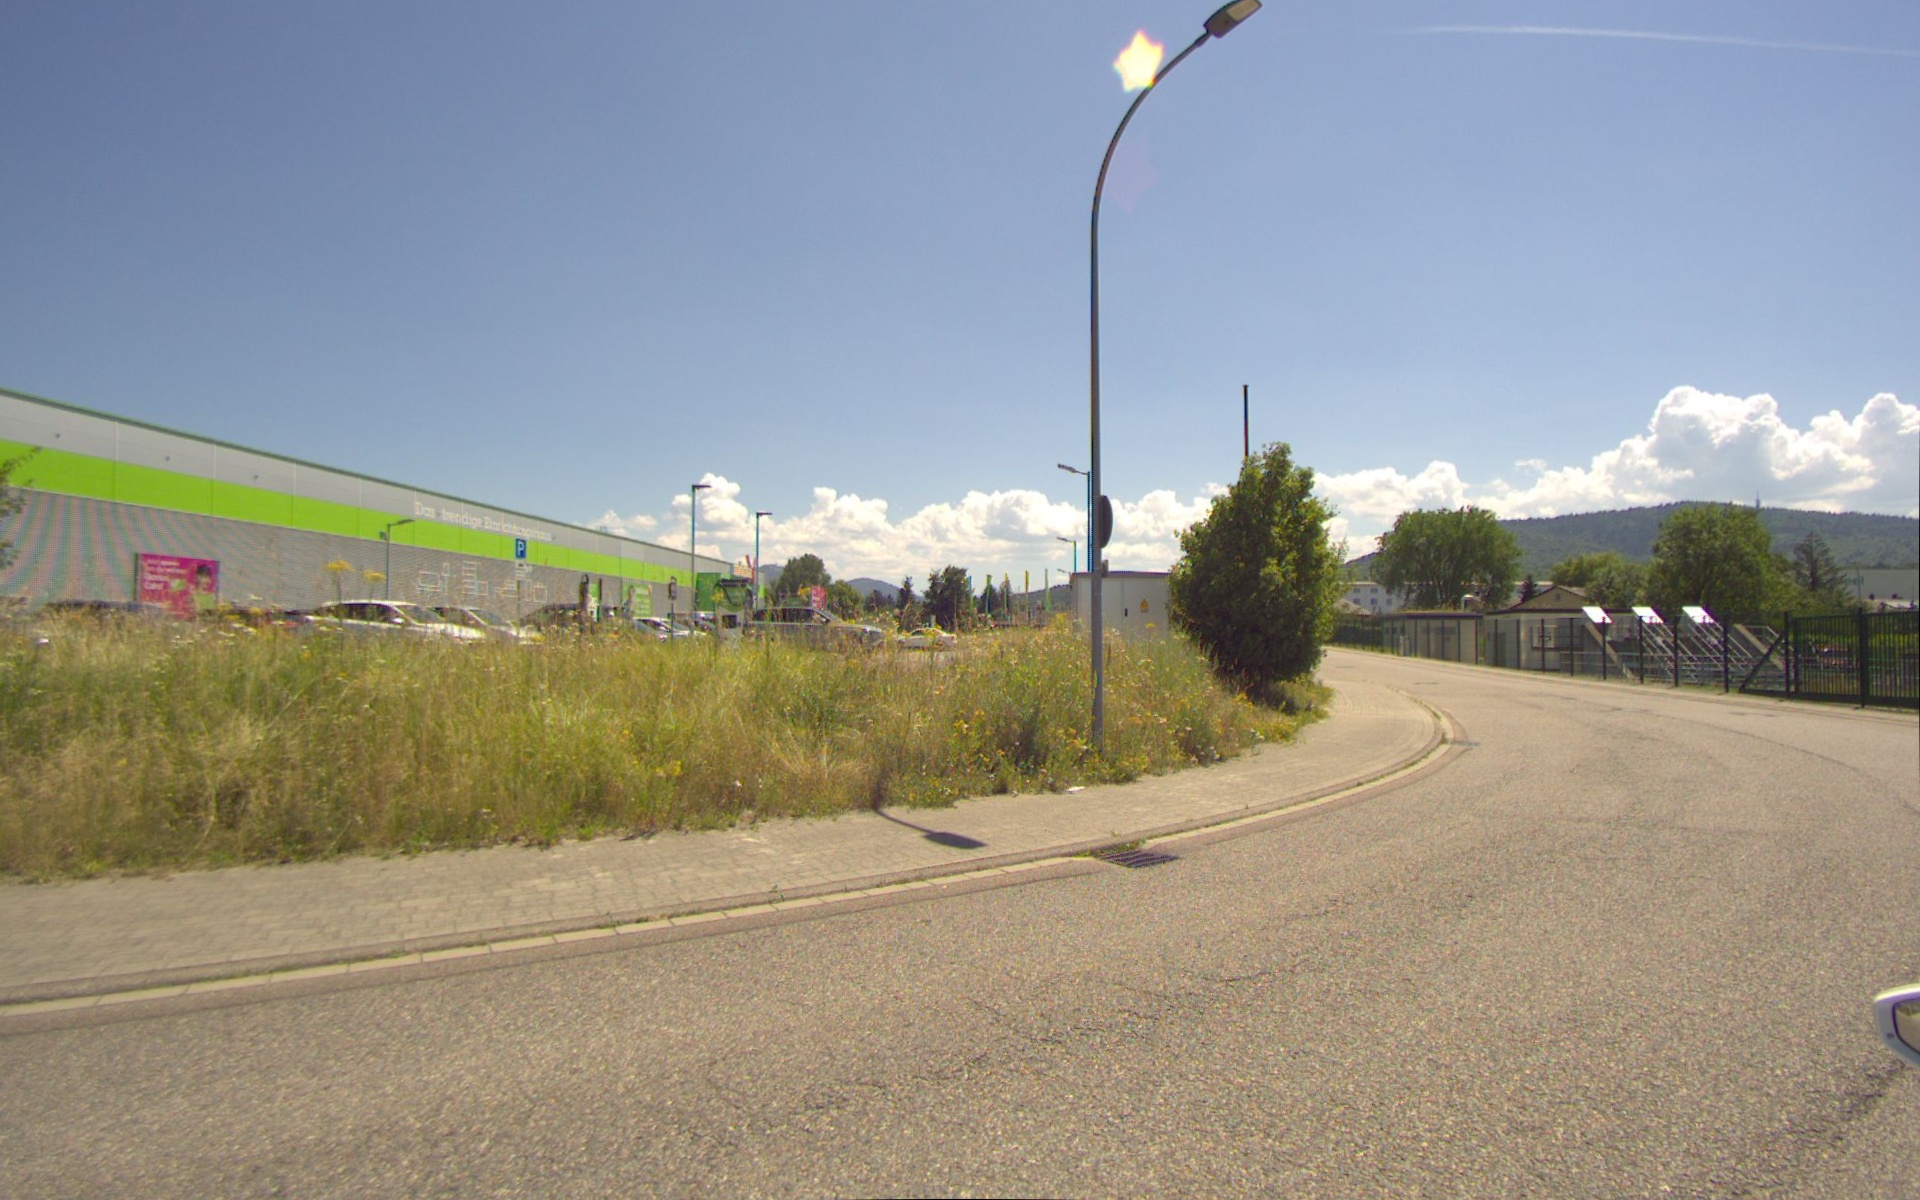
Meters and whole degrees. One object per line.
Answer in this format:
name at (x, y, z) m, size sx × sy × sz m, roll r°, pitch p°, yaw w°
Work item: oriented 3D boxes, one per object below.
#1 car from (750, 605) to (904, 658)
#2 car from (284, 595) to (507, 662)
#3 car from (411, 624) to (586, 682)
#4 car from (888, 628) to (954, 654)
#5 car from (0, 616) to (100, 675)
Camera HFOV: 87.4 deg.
car at (-4.330, 1.046, 33.272) m, size 4.741 × 1.680 × 2.001 m, roll 0°, pitch -1°, yaw 3°
car at (-12.714, 0.638, 22.798) m, size 3.920 × 1.431 × 2.001 m, roll 0°, pitch -1°, yaw 3°
car at (-11.802, 1.326, 25.806) m, size 3.722 × 1.417 × 1.643 m, roll 0°, pitch -1°, yaw 3°
car at (-2.366, 2.525, 61.737) m, size 3.920 × 1.565 × 2.001 m, roll 0°, pitch -1°, yaw 3°
car at (-23.231, 1.072, 24.156) m, size 3.920 × 1.342 × 1.492 m, roll 0°, pitch -1°, yaw 3°
